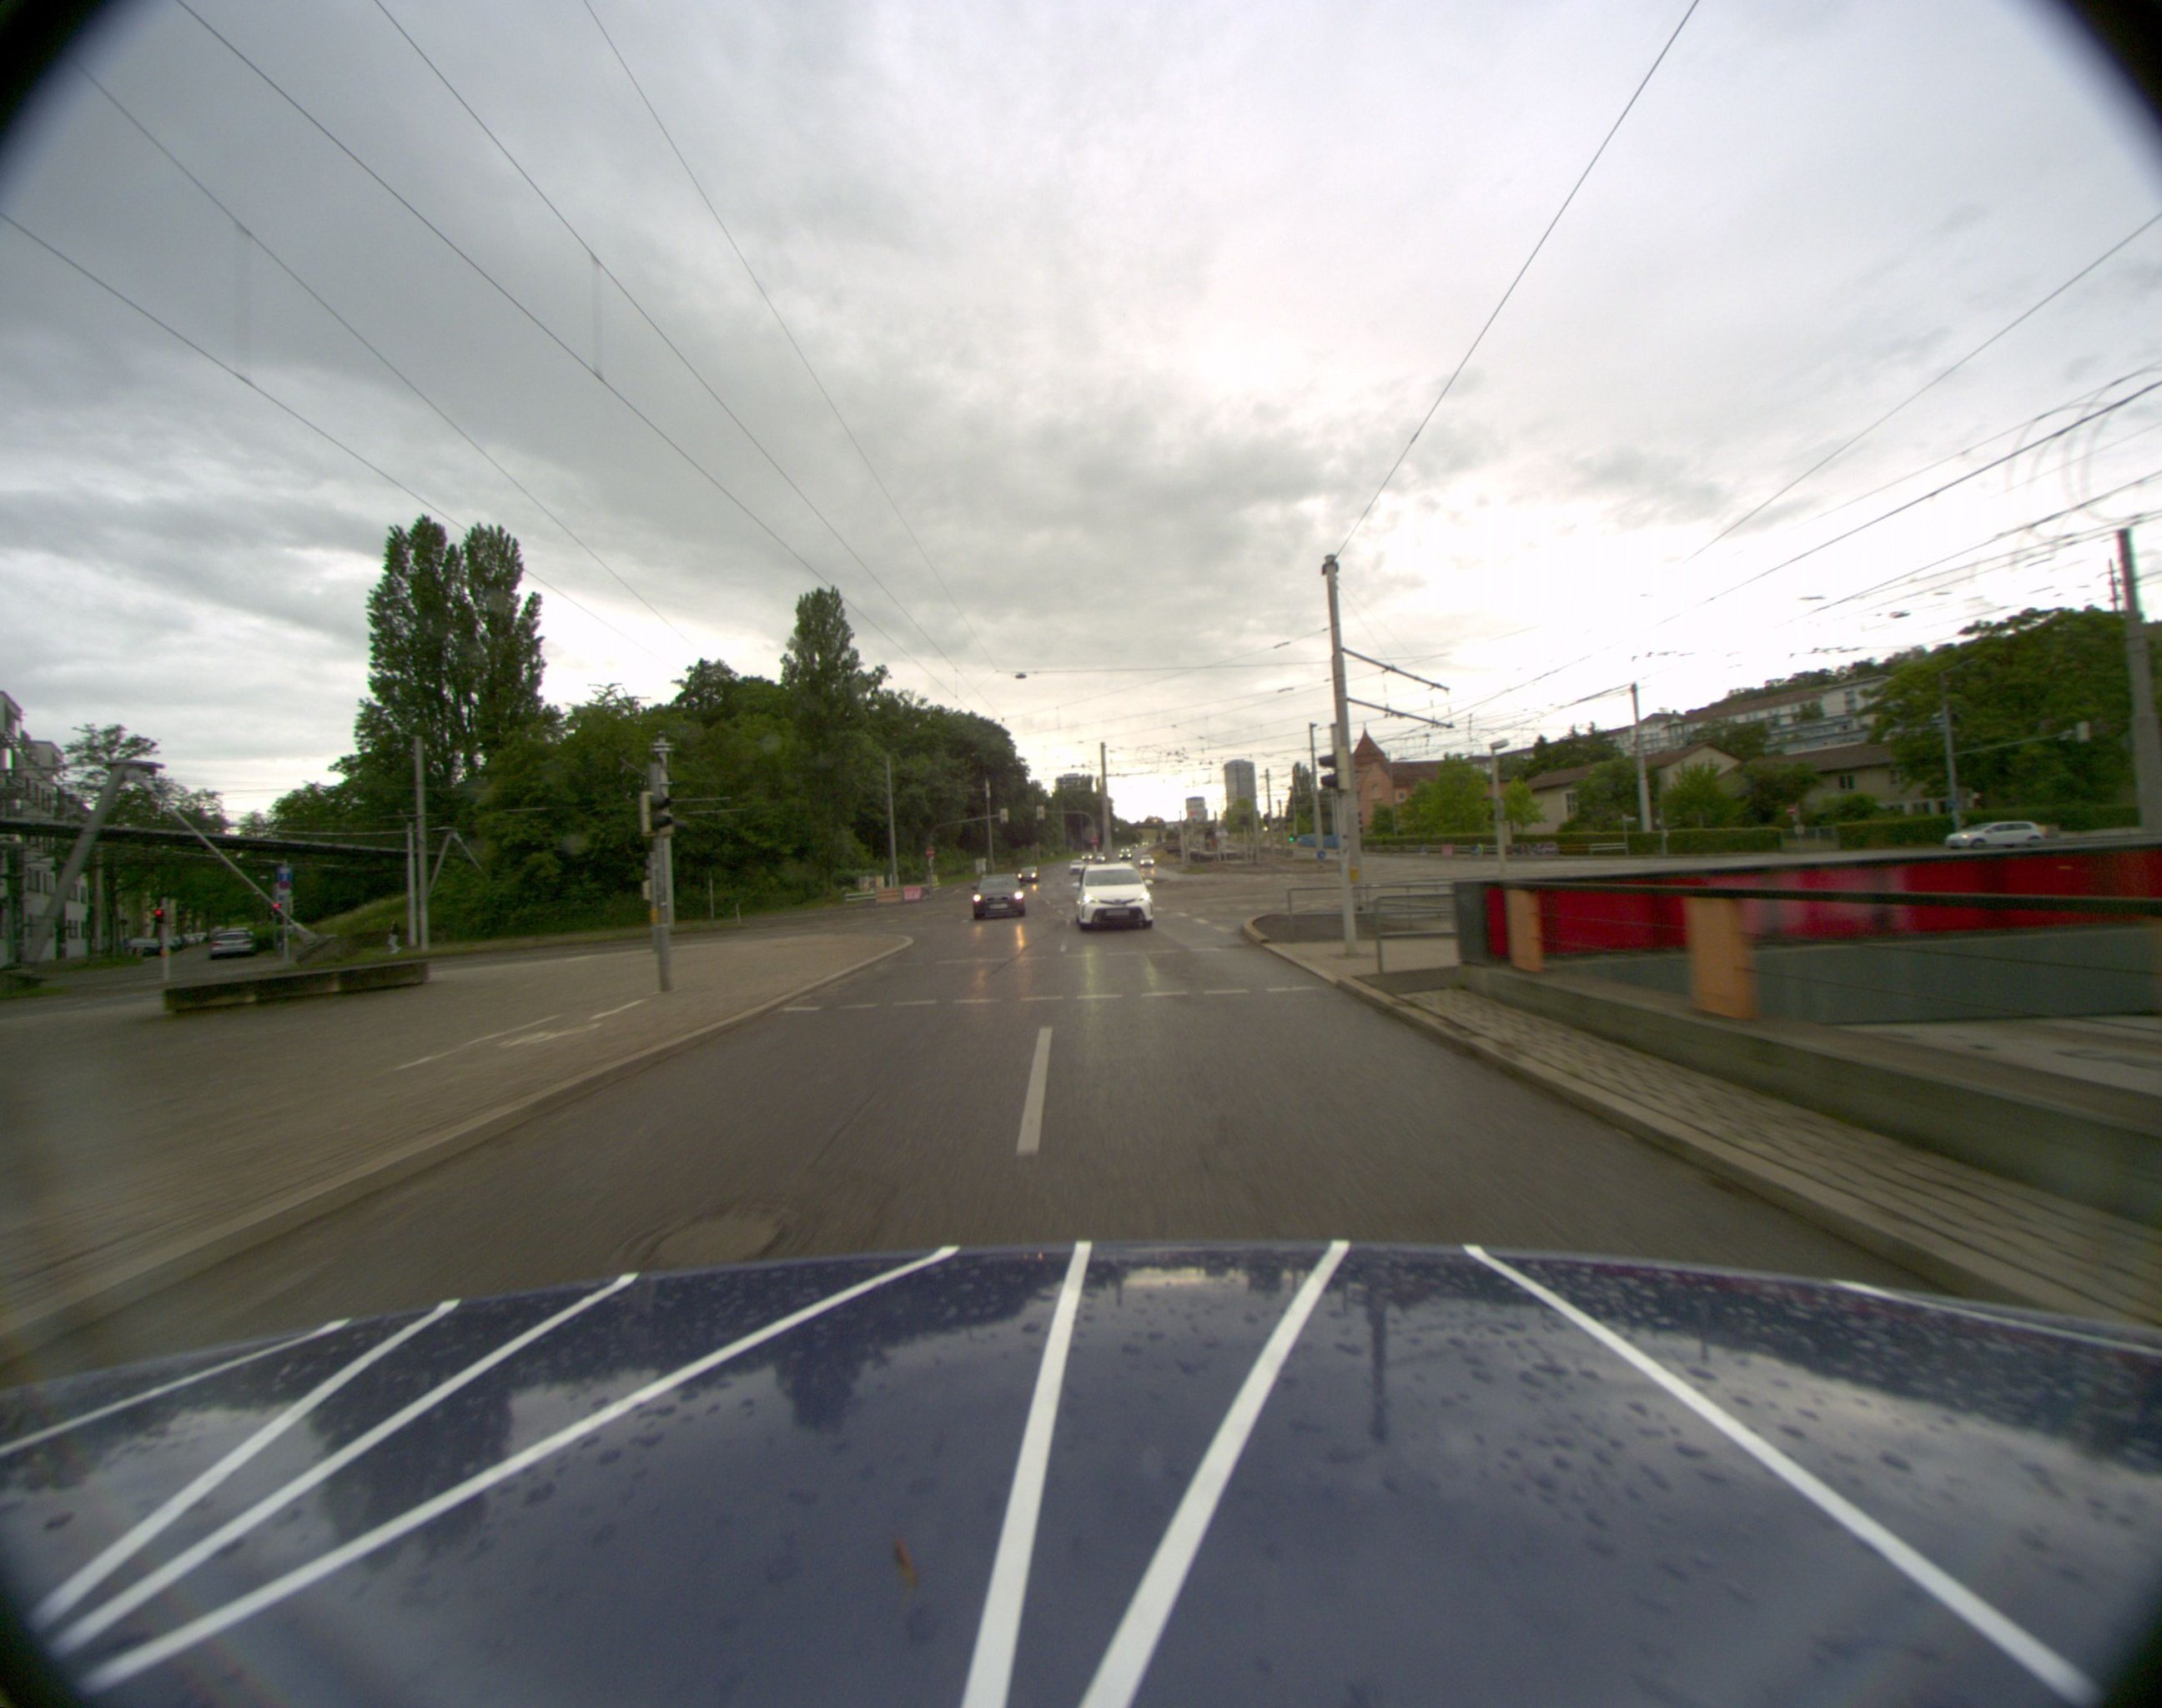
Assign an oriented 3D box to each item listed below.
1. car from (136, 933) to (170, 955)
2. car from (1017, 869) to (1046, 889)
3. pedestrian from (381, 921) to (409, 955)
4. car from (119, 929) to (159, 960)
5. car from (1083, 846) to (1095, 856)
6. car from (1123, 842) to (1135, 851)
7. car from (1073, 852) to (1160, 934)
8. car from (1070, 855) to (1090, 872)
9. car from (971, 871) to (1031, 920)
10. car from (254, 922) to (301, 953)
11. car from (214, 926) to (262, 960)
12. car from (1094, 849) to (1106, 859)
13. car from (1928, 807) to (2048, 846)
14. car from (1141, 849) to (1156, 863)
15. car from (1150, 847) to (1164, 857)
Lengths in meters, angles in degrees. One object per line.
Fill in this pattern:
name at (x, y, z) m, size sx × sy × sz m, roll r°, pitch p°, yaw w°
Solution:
car at (-74.458, 7.219, 61.007) m, size 3.142 × 1.387 × 1.561 m, roll -3°, pitch 2°, yaw 40°
car at (-4.575, 2.305, 70.811) m, size 1.738 × 1.578 × 4.003 m, roll -5°, pitch -1°, yaw 8°
pedestrian at (-33.461, 4.070, 37.087) m, size 0.655 × 1.545 × 0.809 m, roll -4°, pitch 0°, yaw -17°
car at (-69.024, 6.601, 55.711) m, size 3.370 × 1.967 × 1.637 m, roll -3°, pitch 2°, yaw 40°
car at (1.344, -0.487, 132.700) m, size 1.801 × 1.463 × 4.000 m, roll -3°, pitch 2°, yaw 4°
car at (8.243, -1.245, 131.560) m, size 1.801 × 1.463 × 3.999 m, roll -3°, pitch 1°, yaw 2°
car at (0.907, 0.910, 19.302) m, size 1.855 × 1.741 × 4.001 m, roll -4°, pitch -1°, yaw 3°
car at (-0.055, 1.098, 87.917) m, size 1.737 × 1.579 × 4.000 m, roll -3°, pitch 3°, yaw 8°
car at (-2.874, 1.463, 27.963) m, size 1.856 × 1.578 × 4.000 m, roll -3°, pitch -1°, yaw -3°
car at (-51.290, 5.310, 48.555) m, size 1.741 × 1.553 × 3.743 m, roll -6°, pitch 2°, yaw -44°
car at (-48.671, 5.116, 43.913) m, size 3.742 × 1.553 × 1.637 m, roll -3°, pitch 2°, yaw 43°
car at (3.128, -0.019, 123.125) m, size 1.801 × 1.463 × 3.999 m, roll -3°, pitch 2°, yaw 4°
car at (52.034, -1.598, 43.681) m, size 3.993 × 2.003 × 2.000 m, roll -2°, pitch 4°, yaw 12°
car at (8.886, 0.216, 99.378) m, size 1.737 × 1.579 × 4.000 m, roll -3°, pitch 3°, yaw 8°
car at (13.083, -0.375, 130.833) m, size 1.802 × 1.502 × 4.000 m, roll -3°, pitch -1°, yaw -1°
